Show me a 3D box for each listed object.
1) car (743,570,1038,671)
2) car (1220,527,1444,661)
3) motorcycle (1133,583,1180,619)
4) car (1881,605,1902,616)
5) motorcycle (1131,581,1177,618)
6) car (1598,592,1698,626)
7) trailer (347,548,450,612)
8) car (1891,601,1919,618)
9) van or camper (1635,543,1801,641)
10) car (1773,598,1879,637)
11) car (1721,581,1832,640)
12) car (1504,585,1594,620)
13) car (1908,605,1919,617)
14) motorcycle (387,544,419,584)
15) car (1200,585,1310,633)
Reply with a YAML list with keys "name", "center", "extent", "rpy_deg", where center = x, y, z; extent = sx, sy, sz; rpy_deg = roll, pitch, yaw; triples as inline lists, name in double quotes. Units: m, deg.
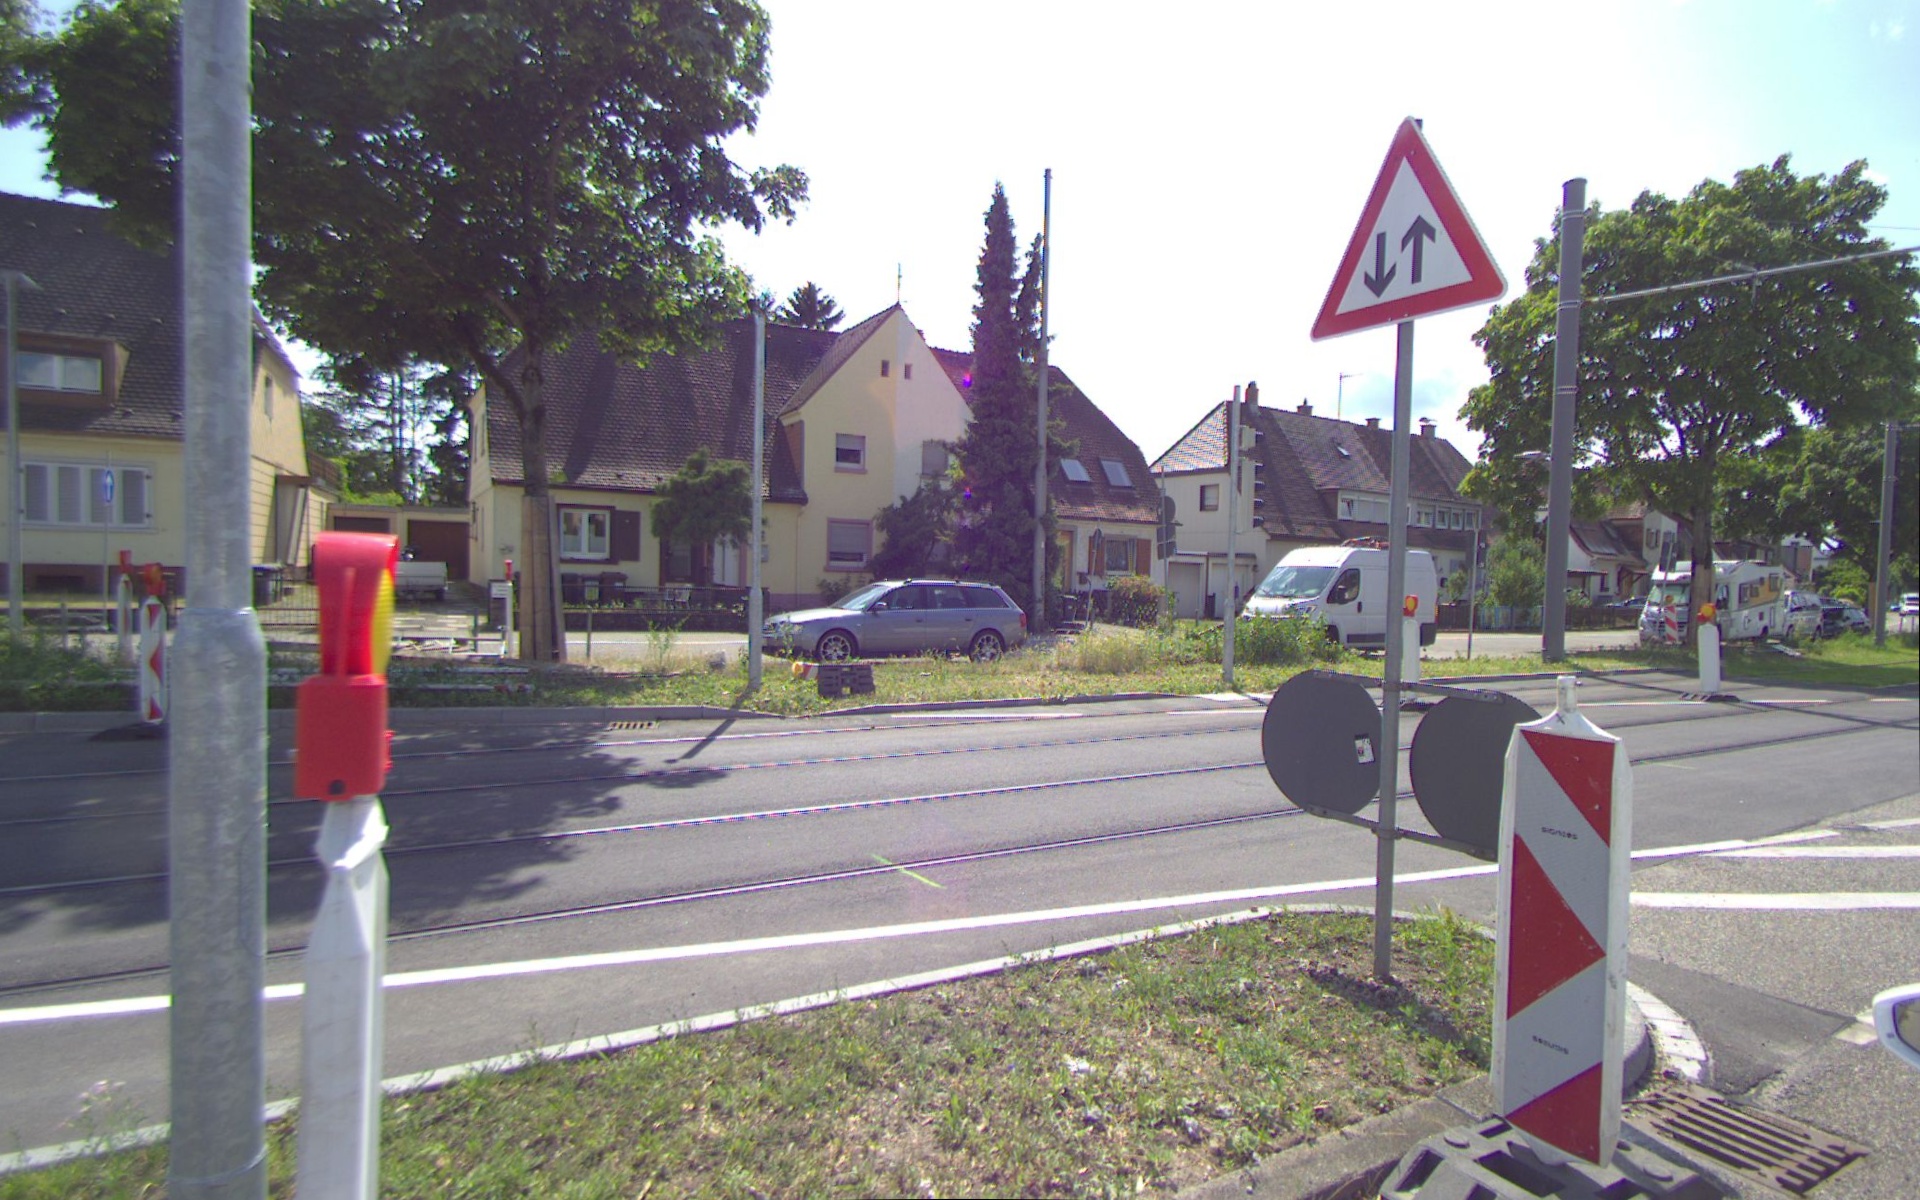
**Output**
- name: "car"
  center: [-1.101, 0.323, 16.897]
  extent: [4.699, 1.484, 1.684]
  rpy_deg: [1, 2, -30]
- name: "car"
  center: [8.382, -0.119, 22.530]
  extent: [4.862, 2.704, 2.141]
  rpy_deg: [1, 2, -32]
- name: "motorcycle"
  center: [6.854, 0.045, 35.019]
  extent: [1.775, 1.185, 0.493]
  rpy_deg: [1, 2, -35]
- name: "car"
  center: [142.952, 1.632, 154.194]
  extent: [1.855, 1.573, 4.360]
  rpy_deg: [3, 1, 38]
- name: "motorcycle"
  center: [6.975, -0.013, 36.049]
  extent: [0.570, 1.289, 1.989]
  rpy_deg: [3, 2, 44]
- name: "car"
  center: [36.150, 0.437, 52.862]
  extent: [1.858, 1.551, 3.953]
  rpy_deg: [0, 3, -40]
- name: "trailer"
  center: [-14.150, -0.537, 25.559]
  extent: [1.998, 1.412, 5.236]
  rpy_deg: [1, 2, -26]
- name: "car"
  center: [105.343, 1.051, 111.892]
  extent: [5.042, 1.792, 1.865]
  rpy_deg: [1, 2, -41]
- name: "van or camper"
  center: [25.823, -0.236, 34.083]
  extent: [7.224, 3.010, 2.359]
  rpy_deg: [1, 1, -36]
- name: "car"
  center: [35.220, 0.712, 40.807]
  extent: [4.753, 1.406, 1.842]
  rpy_deg: [1, 2, -31]
- name: "car"
  center: [31.001, 0.393, 38.108]
  extent: [4.855, 2.041, 1.980]
  rpy_deg: [1, 2, -35]
- name: "car"
  center: [33.094, 0.106, 56.510]
  extent: [1.784, 1.761, 3.953]
  rpy_deg: [0, 3, -40]
- name: "car"
  center: [126.457, 1.497, 132.551]
  extent: [1.708, 1.525, 4.546]
  rpy_deg: [1, 0, 40]
- name: "motorcycle"
  center: [-19.117, -1.239, 34.519]
  extent: [0.903, 1.305, 2.800]
  rpy_deg: [1, 1, -28]
- name: "car"
  center: [10.641, 0.306, 36.449]
  extent: [1.653, 1.542, 3.595]
  rpy_deg: [1, 2, -33]
